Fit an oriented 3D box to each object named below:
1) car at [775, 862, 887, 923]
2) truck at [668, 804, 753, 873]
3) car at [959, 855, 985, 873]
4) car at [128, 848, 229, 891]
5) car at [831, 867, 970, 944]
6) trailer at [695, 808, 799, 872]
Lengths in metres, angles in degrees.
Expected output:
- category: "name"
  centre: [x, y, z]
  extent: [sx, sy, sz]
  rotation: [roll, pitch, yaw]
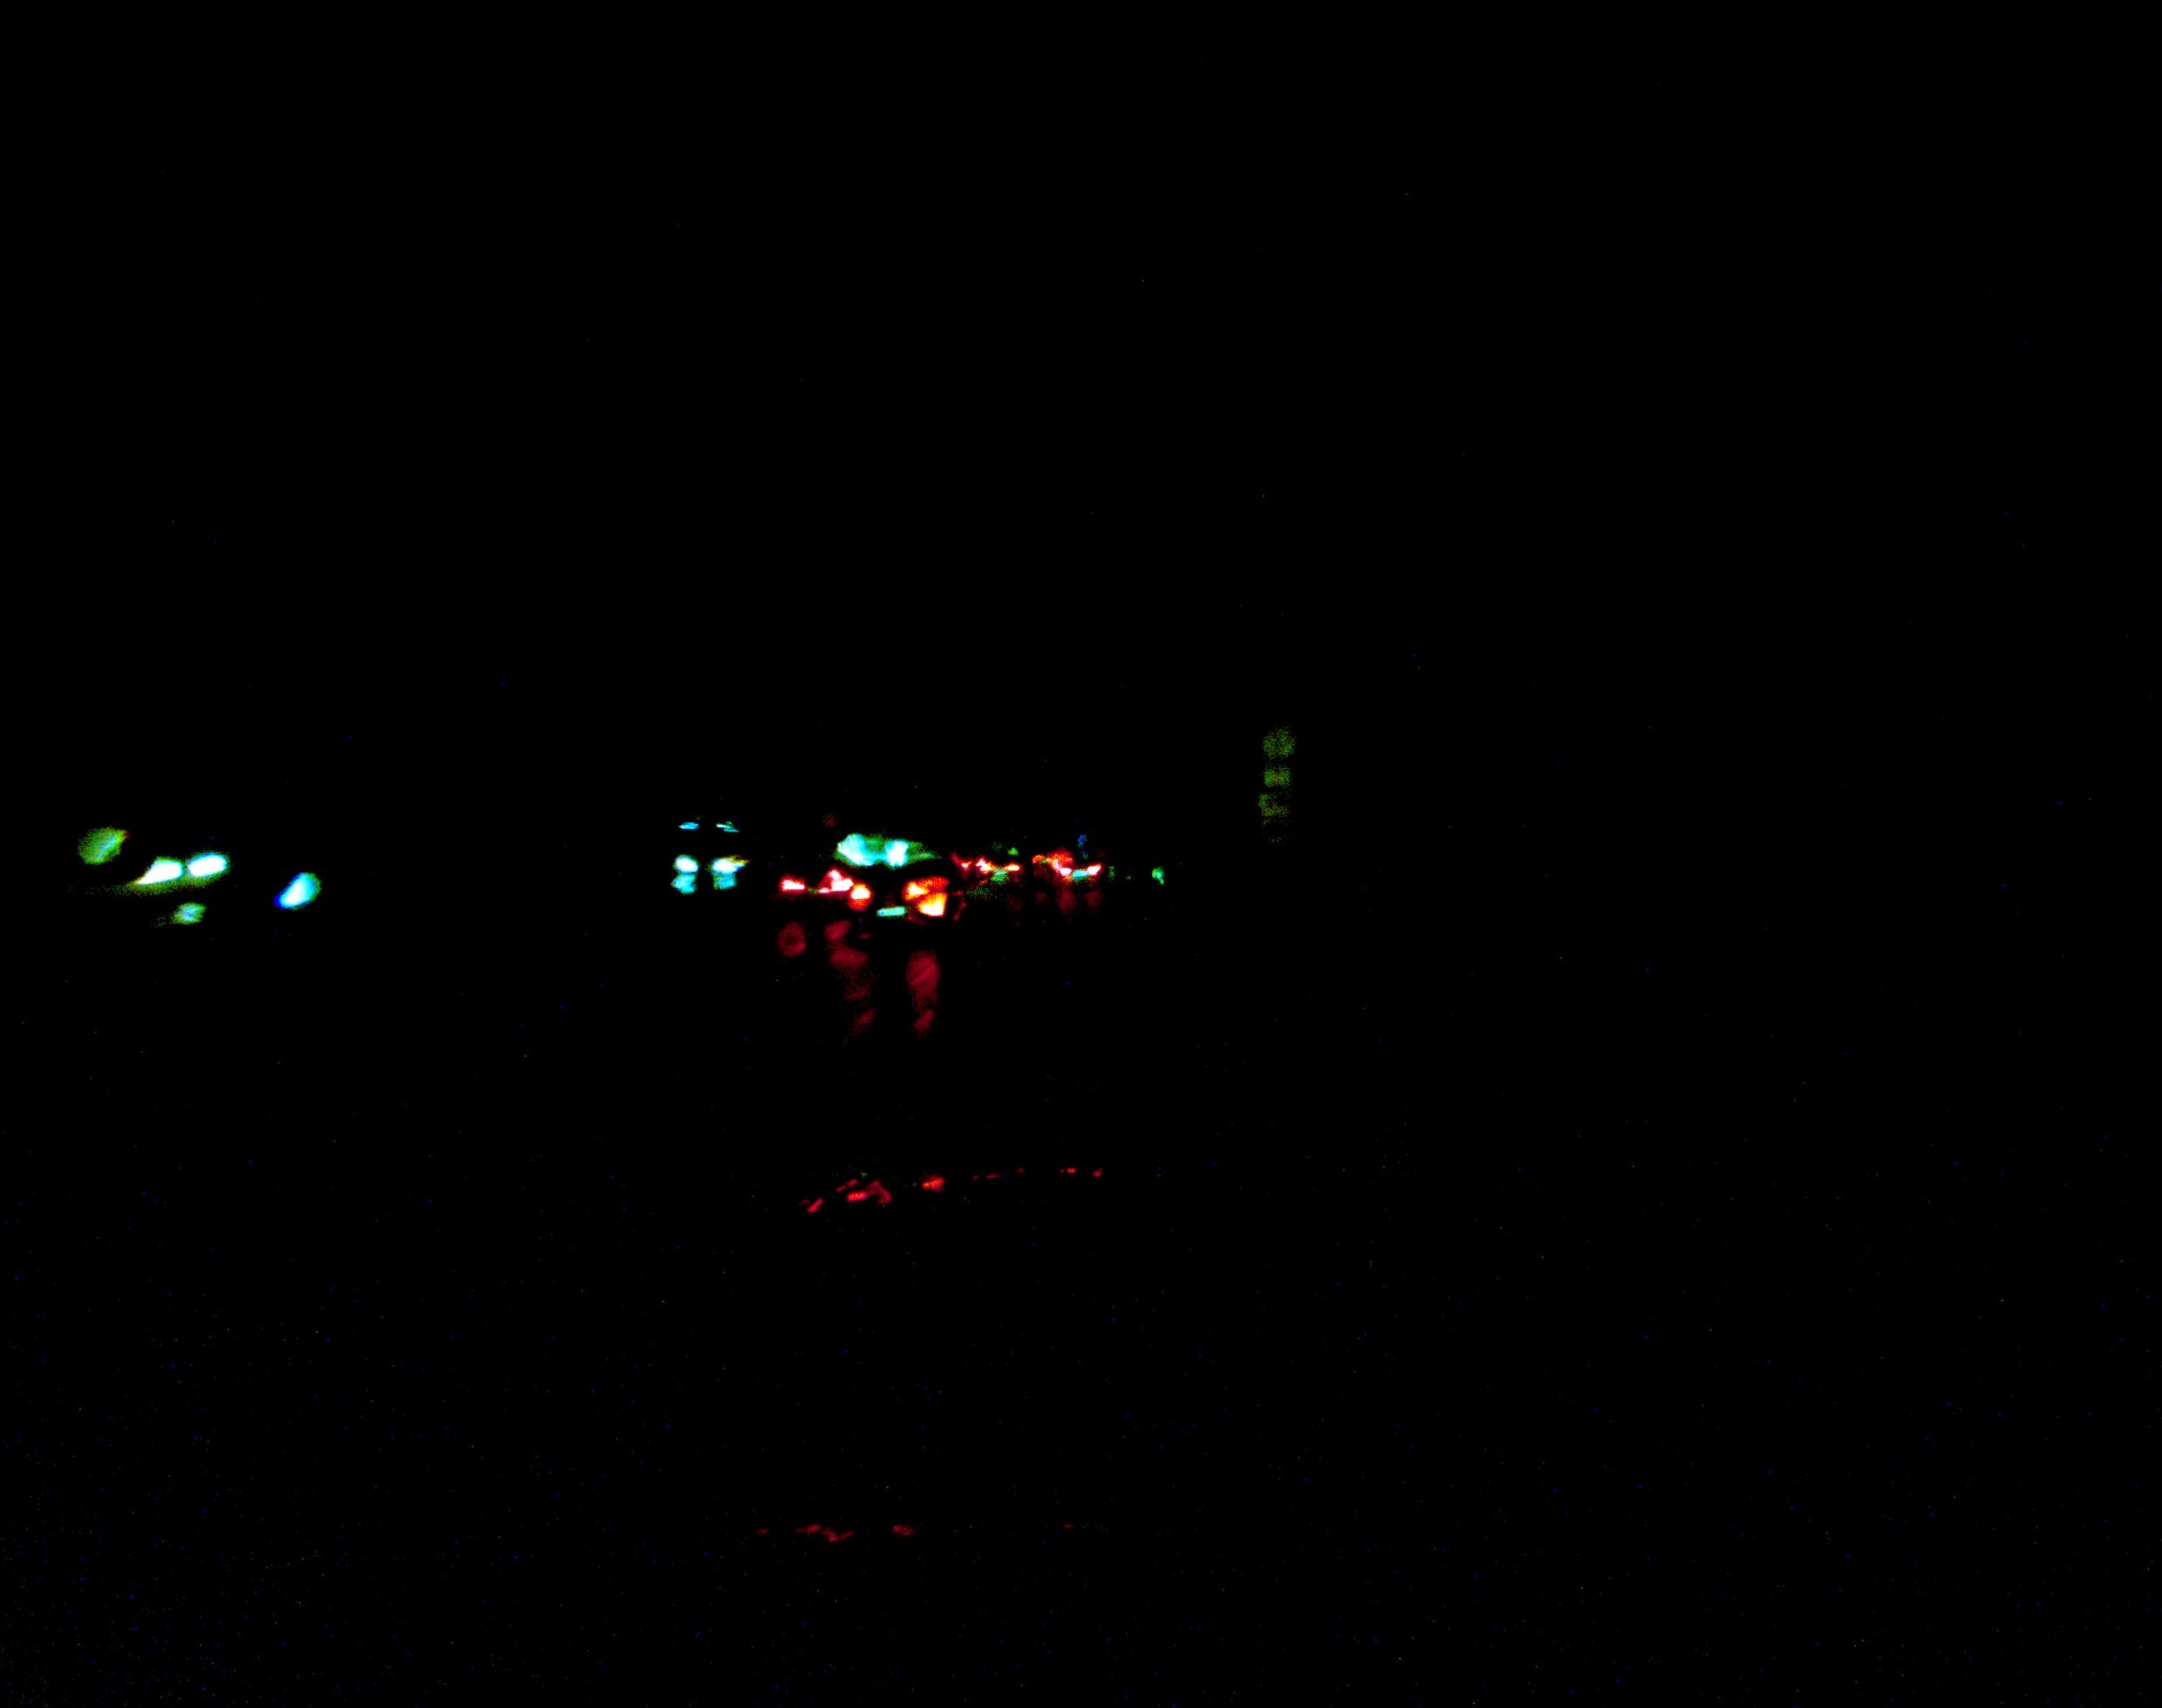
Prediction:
- category: "car"
  centre: [-6.936, 1.007, 23.166]
  extent: [1.763, 1.517, 4.911]
  rotation: [0, 0, -1]
- category: "truck"
  centre: [-19.494, -0.756, 43.126]
  extent: [2.599, 3.458, 4.634]
  rotation: [0, -1, -4]
- category: "car"
  centre: [-9.834, 0.935, 73.584]
  extent: [1.887, 1.550, 3.998]
  rotation: [0, -1, -1]
- category: "car"
  centre: [-38.566, 0.657, 34.923]
  extent: [1.843, 1.713, 3.960]
  rotation: [1, -1, -32]
- category: "car"
  centre: [-3.580, 0.984, 16.949]
  extent: [1.956, 1.380, 4.048]
  rotation: [1, -1, 0]
- category: "trailer"
  centre: [-19.872, -0.671, 49.253]
  extent: [2.604, 3.473, 10.431]
  rotation: [0, -1, -4]
